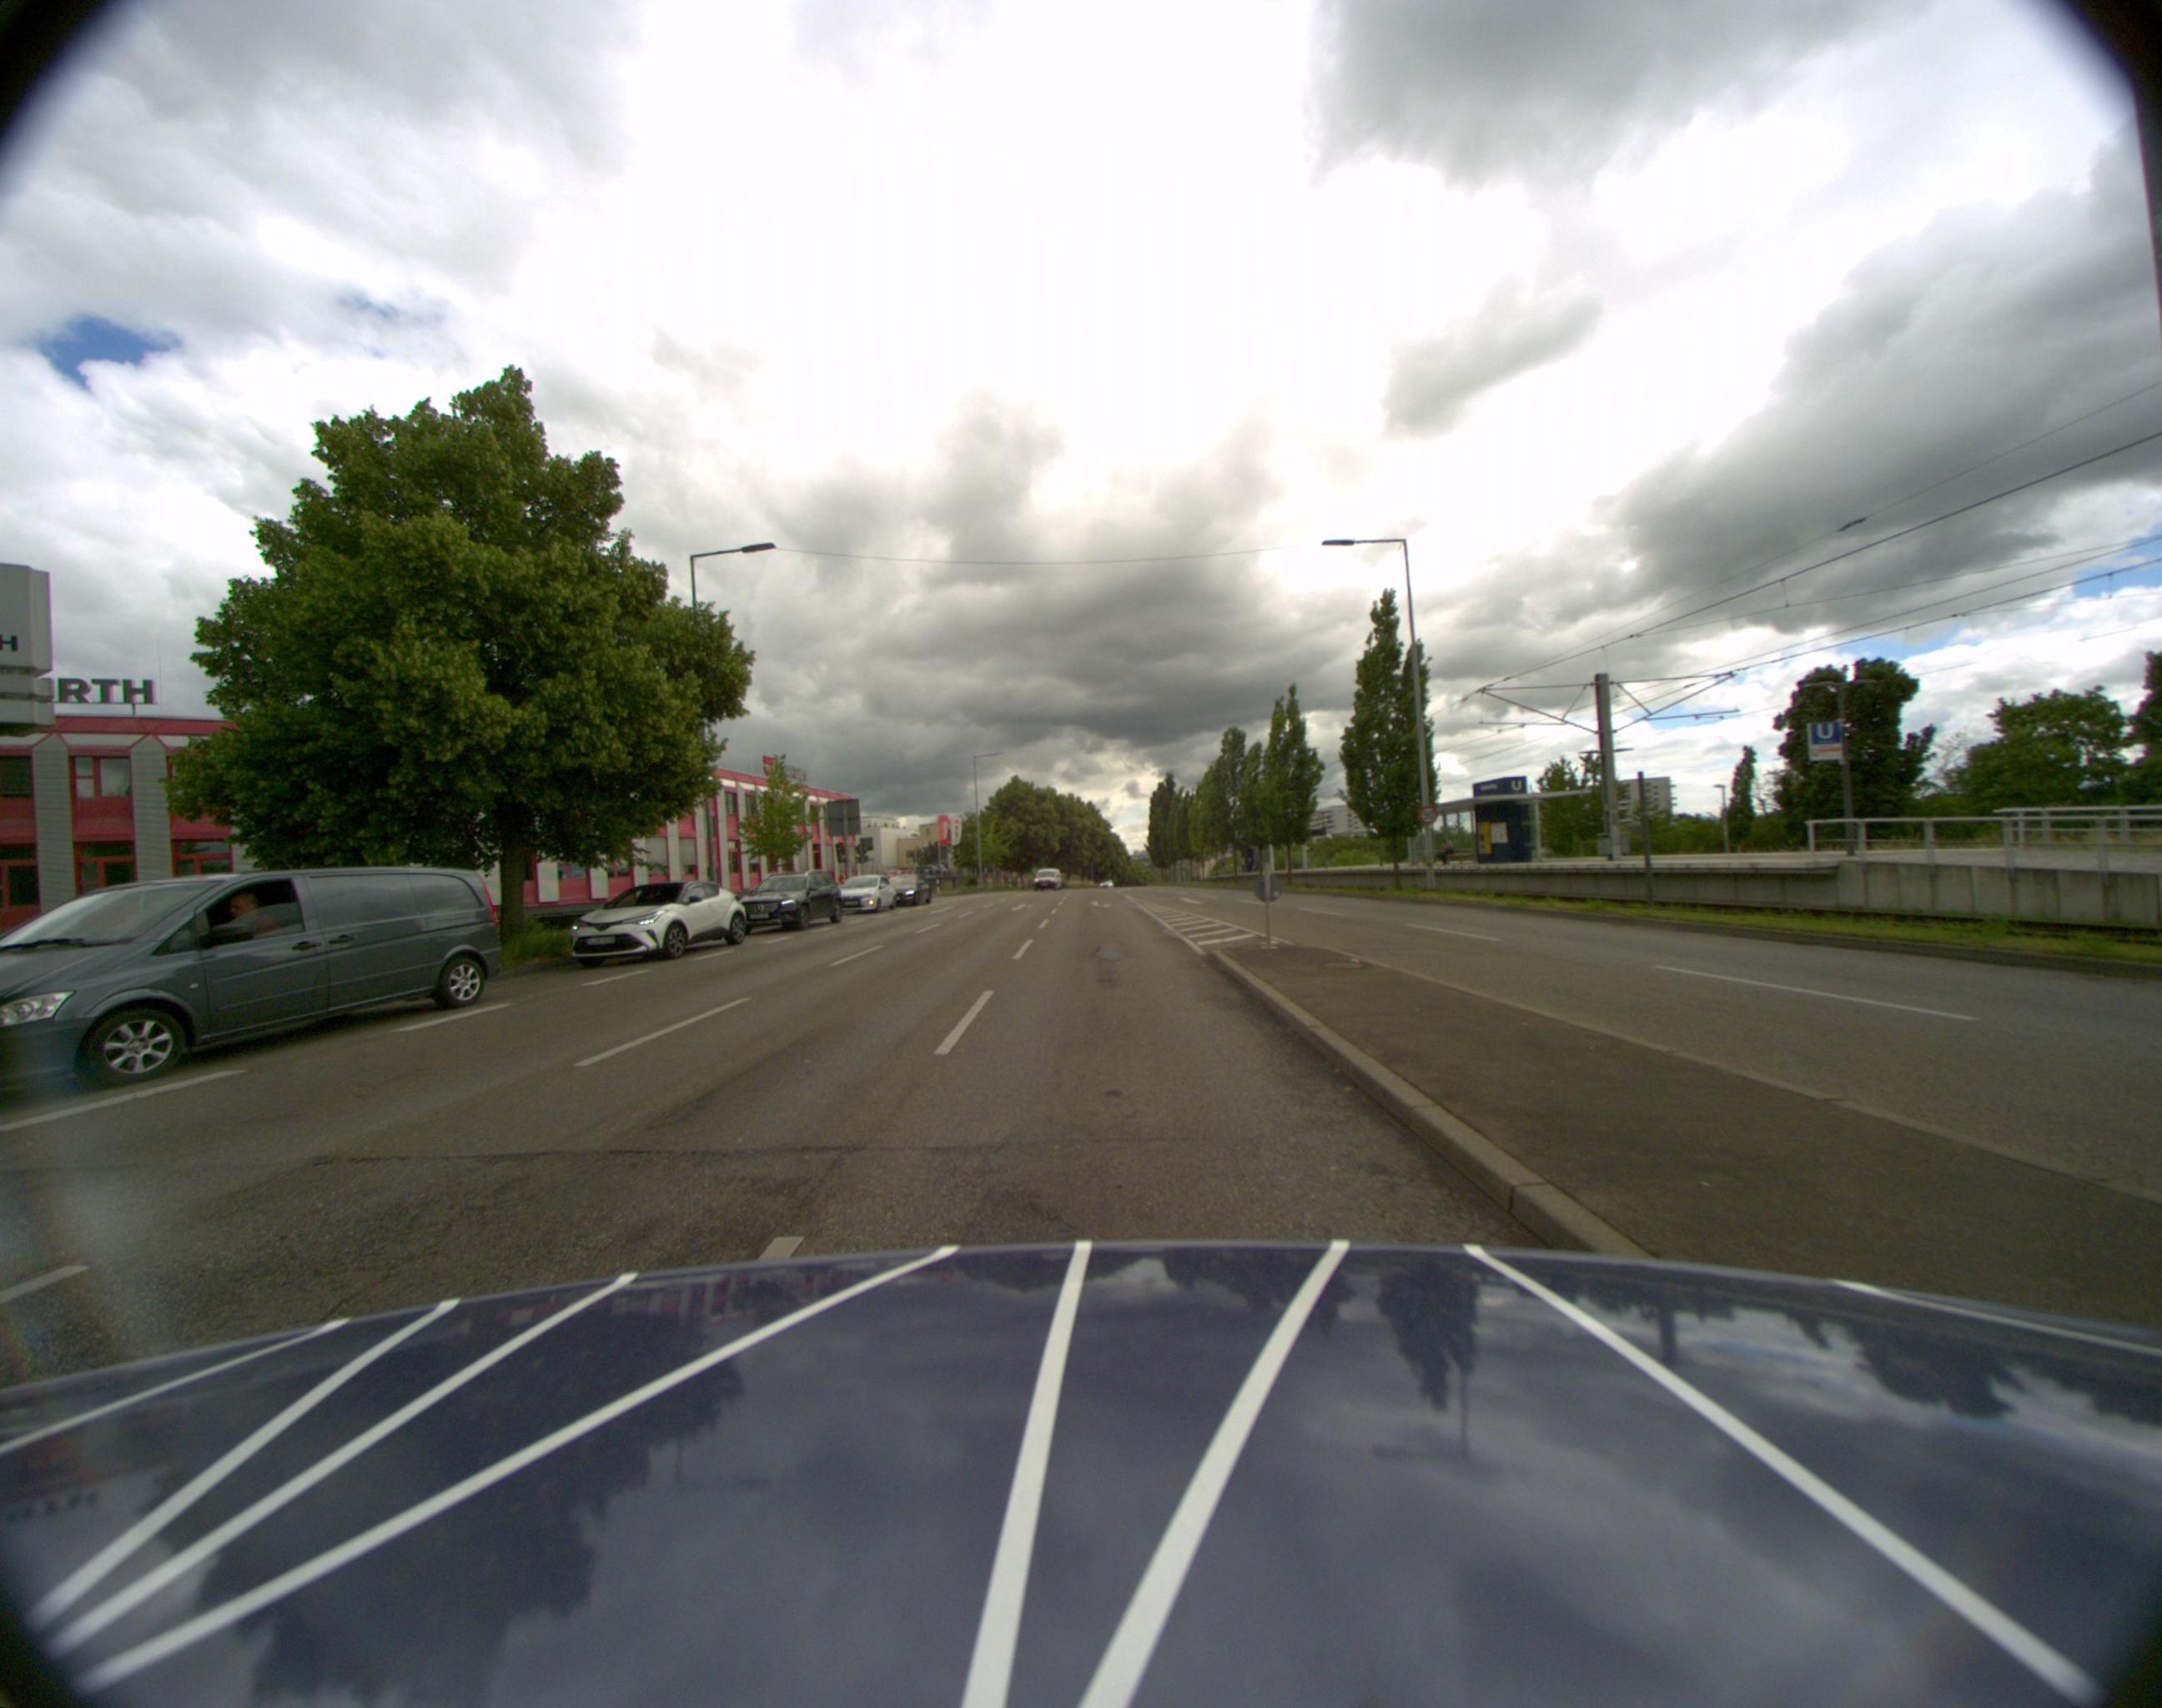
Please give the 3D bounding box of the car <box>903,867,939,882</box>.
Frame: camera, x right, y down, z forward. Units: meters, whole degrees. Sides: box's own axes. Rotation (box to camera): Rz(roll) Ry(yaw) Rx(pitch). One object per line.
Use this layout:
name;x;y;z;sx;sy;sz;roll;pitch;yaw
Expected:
car;-21.220;2.680;100.997;4.248;1.744;1.784;-2;0;2

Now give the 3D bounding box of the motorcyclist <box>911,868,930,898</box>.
motorcyclist;-8.351;1.503;39.499;0.750;1.481;0.933;-4;-1;-3

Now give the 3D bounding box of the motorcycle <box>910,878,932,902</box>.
motorcycle;-8.326;1.857;39.503;0.750;1.140;1.943;-4;-1;-3

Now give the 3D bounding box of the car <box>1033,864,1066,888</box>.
car;-2.527;1.791;62.101;1.999;1.791;4.841;-2;0;5

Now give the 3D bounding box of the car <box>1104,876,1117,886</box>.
car;4.317;3.983;112.339;1.784;1.353;4.483;0;-3;4

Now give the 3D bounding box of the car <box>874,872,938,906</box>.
car;-8.024;1.586;35.197;1.785;1.437;4.530;-1;-2;1

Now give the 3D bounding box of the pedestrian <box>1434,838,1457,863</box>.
pedestrian;17.617;-0.176;36.724;0.663;1.195;0.782;-2;0;-7

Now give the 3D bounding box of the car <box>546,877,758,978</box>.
car;-8.565;1.376;15.697;1.785;1.526;4.305;-5;0;0

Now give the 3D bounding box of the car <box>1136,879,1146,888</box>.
car;11.826;5.732;148.942;1.869;1.674;4.843;-2;-3;5

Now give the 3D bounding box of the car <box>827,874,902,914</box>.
car;-8.476;1.550;30.097;1.785;1.434;3.836;-1;-2;1

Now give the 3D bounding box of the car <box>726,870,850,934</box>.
car;-8.378;1.322;22.205;1.785;1.639;4.427;-1;-2;1

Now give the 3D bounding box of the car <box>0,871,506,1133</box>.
car;-8.886;1.223;7.909;1.920;1.823;4.722;-5;0;2
